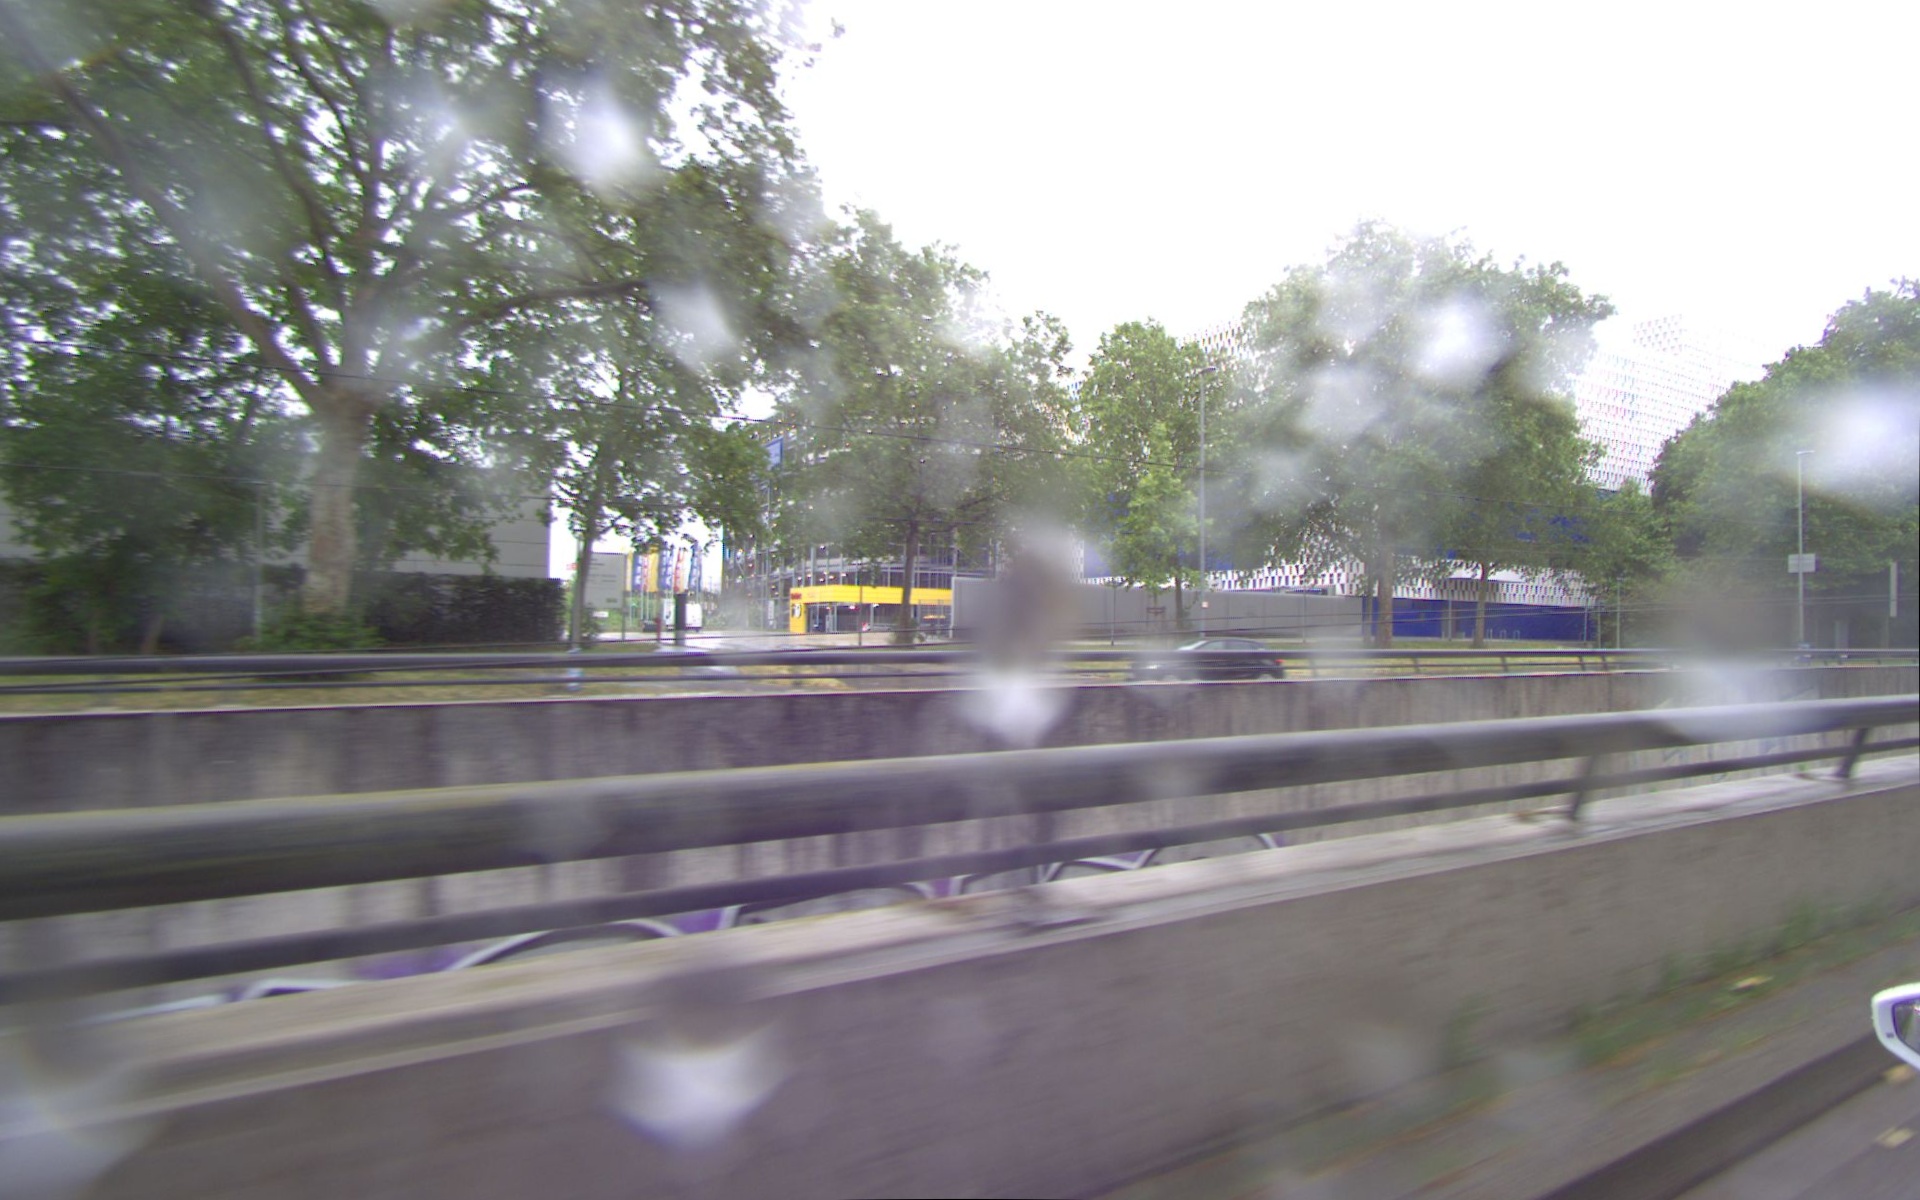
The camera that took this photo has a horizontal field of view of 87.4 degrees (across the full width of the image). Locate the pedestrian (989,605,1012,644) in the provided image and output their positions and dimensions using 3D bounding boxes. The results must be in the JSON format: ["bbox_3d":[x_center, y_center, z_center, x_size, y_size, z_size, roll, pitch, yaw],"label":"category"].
[{"bbox_3d":[2.159,1.323,53.850,0.780,2.040,0.997,1,1,-28],"label":"pedestrian"}]

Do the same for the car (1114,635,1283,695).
[{"bbox_3d":[6.074,1.654,25.767,3.727,1.422,1.996,1,-1,-11],"label":"car"}]

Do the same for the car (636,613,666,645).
[{"bbox_3d":[-29.130,2.697,94.704,2.183,2.863,3.977,1,-1,-24],"label":"car"}]

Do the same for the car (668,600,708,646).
[{"bbox_3d":[-25.896,2.156,95.511,2.188,4.159,5.311,2,-1,-31],"label":"car"}]
